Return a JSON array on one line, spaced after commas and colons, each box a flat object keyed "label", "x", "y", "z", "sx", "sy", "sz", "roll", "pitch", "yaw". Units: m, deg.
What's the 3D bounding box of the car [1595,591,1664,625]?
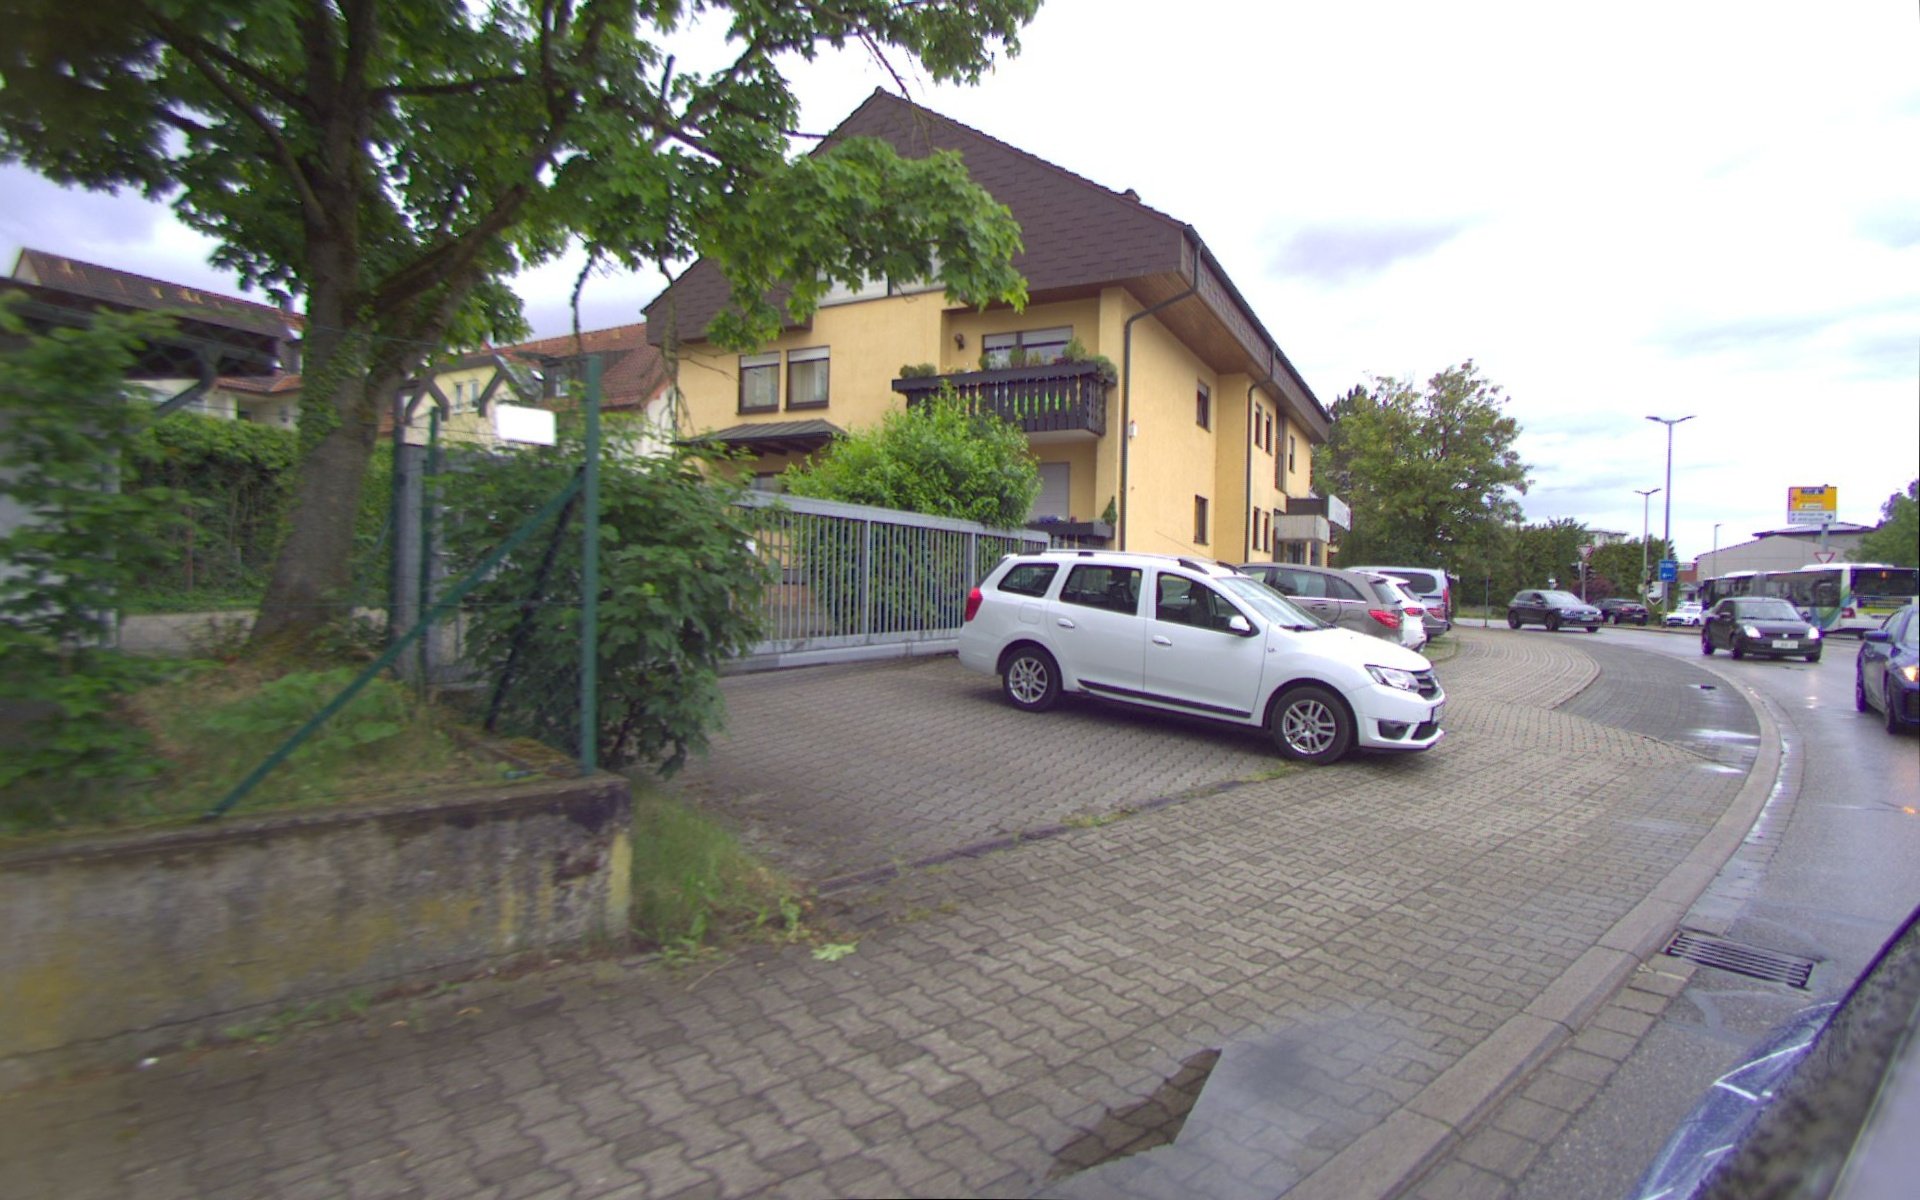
[{"label": "car", "x": 36.084, "y": 0.397, "z": 54.630, "sx": 1.930, "sy": 1.537, "sz": 4.154, "roll": 1, "pitch": 3, "yaw": 17}]

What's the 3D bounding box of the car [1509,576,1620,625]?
[{"label": "car", "x": 24.472, "y": -0.020, "z": 41.150, "sx": 1.932, "sy": 1.771, "sz": 4.309, "roll": -1, "pitch": 2, "yaw": 0}]

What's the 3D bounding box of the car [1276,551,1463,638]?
[{"label": "car", "x": 10.633, "y": -0.194, "z": 26.357, "sx": 4.267, "sy": 1.802, "sz": 1.888, "roll": 6, "pitch": 3, "yaw": 26}]

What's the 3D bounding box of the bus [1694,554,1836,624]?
[{"label": "bus", "x": 39.491, "y": -0.570, "z": 50.070, "sx": 2.523, "sy": 3.037, "sz": 9.145, "roll": 3, "pitch": 1, "yaw": 20}]

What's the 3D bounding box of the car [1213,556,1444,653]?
[{"label": "car", "x": 7.370, "y": 0.024, "z": 20.329, "sx": 4.026, "sy": 1.507, "sz": 1.884, "roll": 6, "pitch": 3, "yaw": 30}]

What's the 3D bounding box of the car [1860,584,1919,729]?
[{"label": "car", "x": 11.976, "y": 0.598, "z": 11.764, "sx": 1.904, "sy": 1.515, "sz": 4.290, "roll": 1, "pitch": 1, "yaw": 37}]

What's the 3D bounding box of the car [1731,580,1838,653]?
[{"label": "car", "x": 20.395, "y": 0.345, "z": 25.173, "sx": 1.736, "sy": 1.537, "sz": 3.952, "roll": 0, "pitch": 3, "yaw": 35}]

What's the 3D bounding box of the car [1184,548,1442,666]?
[{"label": "car", "x": 6.222, "y": 0.046, "z": 17.853, "sx": 4.019, "sy": 1.615, "sz": 1.879, "roll": 6, "pitch": 3, "yaw": 26}]

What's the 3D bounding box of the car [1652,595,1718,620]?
[{"label": "car", "x": 50.939, "y": 0.498, "z": 71.115, "sx": 3.917, "sy": 1.660, "sz": 2.004, "roll": 1, "pitch": 1, "yaw": -24}]

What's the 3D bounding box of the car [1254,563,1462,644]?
[{"label": "car", "x": 9.329, "y": 0.025, "z": 23.832, "sx": 4.334, "sy": 1.440, "sz": 1.680, "roll": 6, "pitch": 3, "yaw": 26}]

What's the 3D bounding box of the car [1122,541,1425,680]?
[{"label": "car", "x": 4.722, "y": 0.073, "z": 15.308, "sx": 4.022, "sy": 1.615, "sz": 1.886, "roll": 6, "pitch": 3, "yaw": 28}]

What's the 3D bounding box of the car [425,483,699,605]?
[{"label": "car", "x": -7.476, "y": -1.041, "z": 19.629, "sx": 1.981, "sy": 2.038, "sz": 4.890, "roll": 1, "pitch": 2, "yaw": 27}]

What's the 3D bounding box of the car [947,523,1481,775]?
[{"label": "car", "x": 2.176, "y": 0.258, "z": 9.259, "sx": 4.329, "sy": 1.615, "sz": 1.744, "roll": 6, "pitch": 4, "yaw": 35}]

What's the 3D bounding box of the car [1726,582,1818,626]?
[{"label": "car", "x": 32.958, "y": 0.112, "z": 41.204, "sx": 1.847, "sy": 1.536, "sz": 4.256, "roll": 4, "pitch": 3, "yaw": 25}]

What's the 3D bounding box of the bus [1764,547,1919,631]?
[{"label": "bus", "x": 36.573, "y": -0.459, "z": 41.828, "sx": 2.562, "sy": 3.037, "sz": 8.351, "roll": 3, "pitch": 1, "yaw": 20}]
